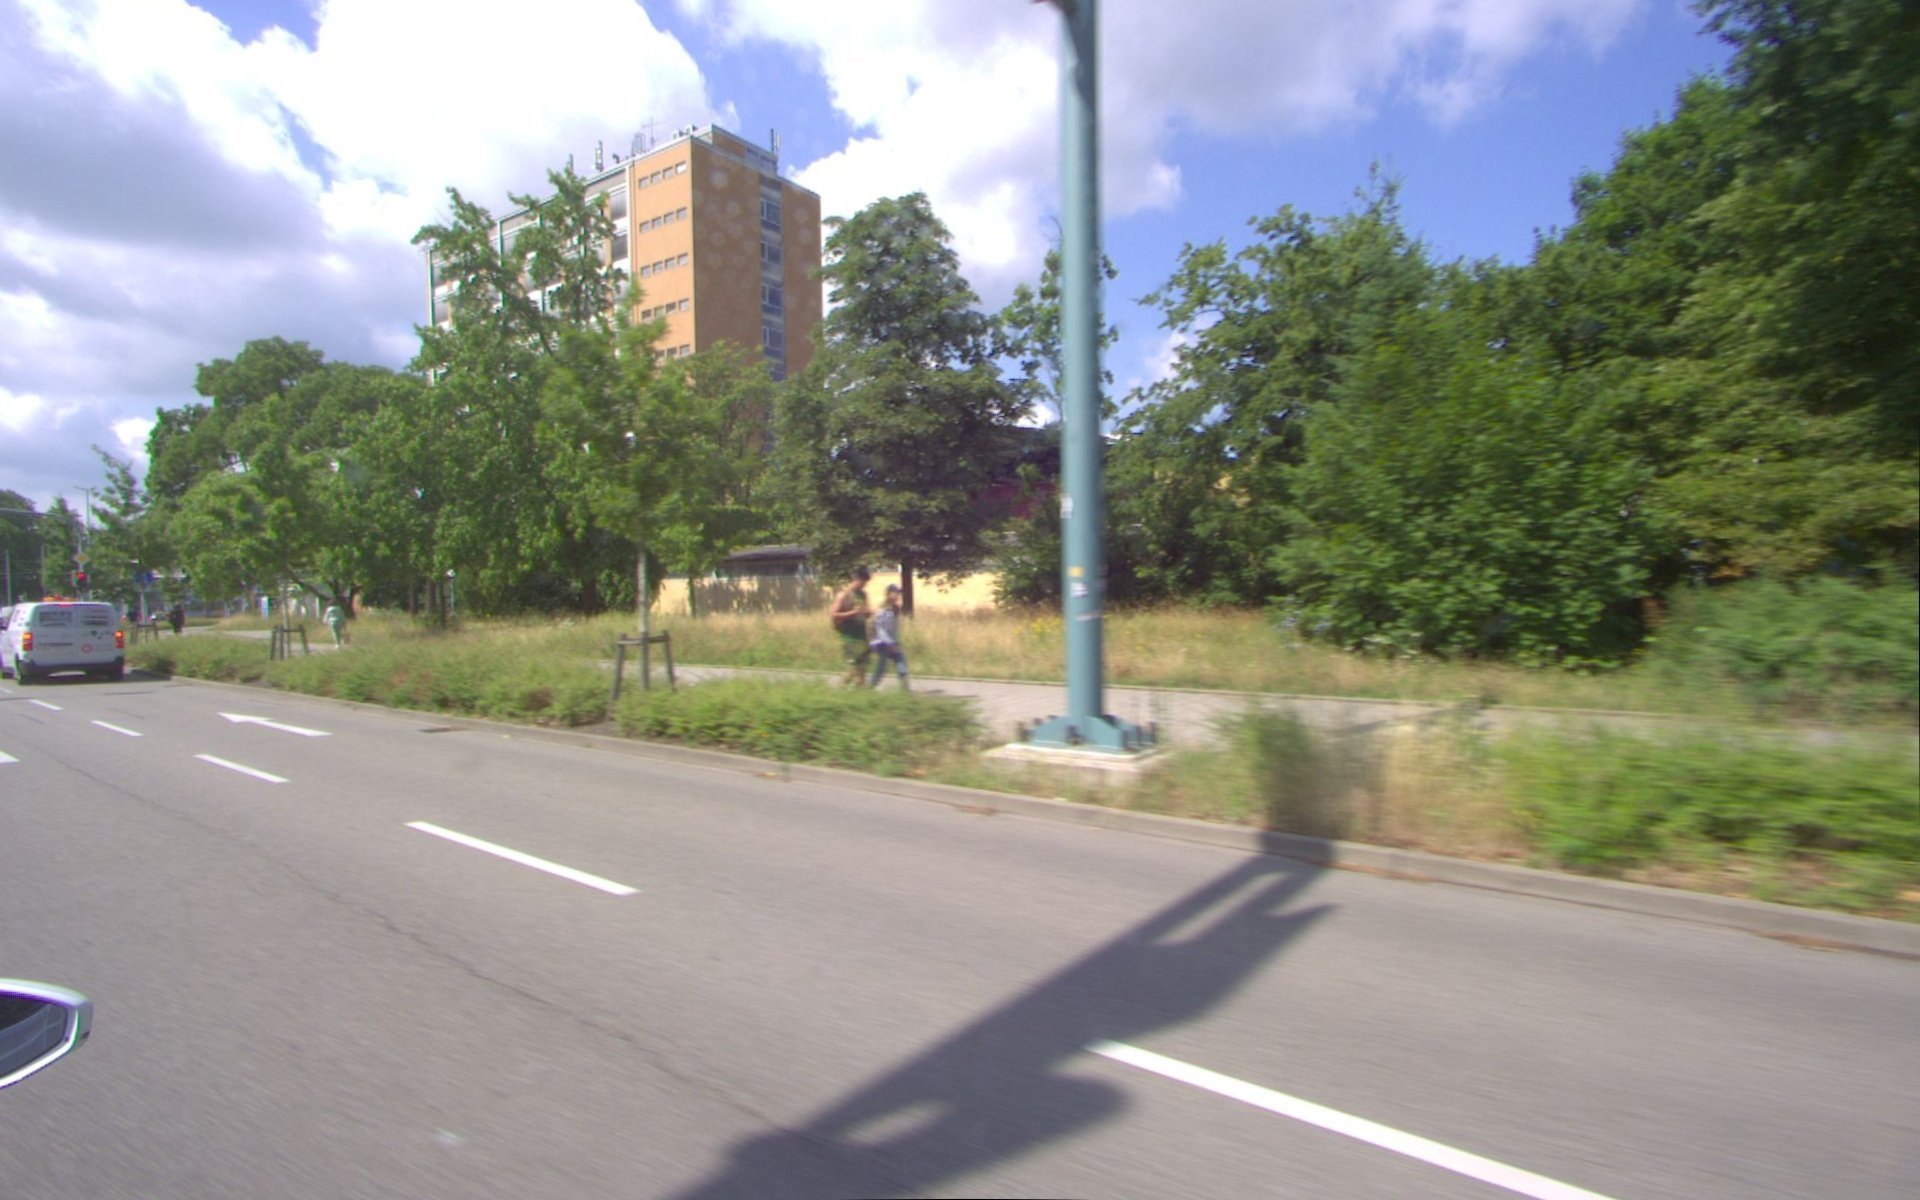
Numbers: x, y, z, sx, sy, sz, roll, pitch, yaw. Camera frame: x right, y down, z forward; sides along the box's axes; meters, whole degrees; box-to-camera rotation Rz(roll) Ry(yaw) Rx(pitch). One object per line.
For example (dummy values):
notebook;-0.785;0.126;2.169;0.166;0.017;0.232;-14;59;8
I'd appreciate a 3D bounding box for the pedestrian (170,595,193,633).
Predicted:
pedestrian;-37.187;0.664;47.814;0.672;1.759;0.738;0;1;44

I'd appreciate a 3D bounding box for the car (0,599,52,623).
car;-81.994;0.934;87.909;1.980;1.993;4.620;-2;1;-25

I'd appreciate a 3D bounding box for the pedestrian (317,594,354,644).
pedestrian;-20.947;0.625;33.592;0.713;1.660;0.863;0;1;42

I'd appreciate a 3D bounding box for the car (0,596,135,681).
car;-22.045;0.858;24.650;4.770;1.895;1.932;0;1;42

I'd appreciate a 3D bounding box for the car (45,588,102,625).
car;-70.744;0.511;80.023;2.103;2.818;4.620;-2;1;-25

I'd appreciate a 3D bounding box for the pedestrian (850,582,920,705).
pedestrian;-1.006;0.560;13.488;0.700;1.602;0.620;1;2;40

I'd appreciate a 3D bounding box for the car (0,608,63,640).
car;-55.832;1.440;59.602;1.964;1.838;3.996;1;-2;-14

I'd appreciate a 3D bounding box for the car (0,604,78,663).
car;-28.330;0.963;30.448;4.411;1.663;1.673;0;0;41

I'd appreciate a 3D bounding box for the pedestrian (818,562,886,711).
pedestrian;-1.373;0.451;12.700;0.631;1.826;0.564;1;2;40
